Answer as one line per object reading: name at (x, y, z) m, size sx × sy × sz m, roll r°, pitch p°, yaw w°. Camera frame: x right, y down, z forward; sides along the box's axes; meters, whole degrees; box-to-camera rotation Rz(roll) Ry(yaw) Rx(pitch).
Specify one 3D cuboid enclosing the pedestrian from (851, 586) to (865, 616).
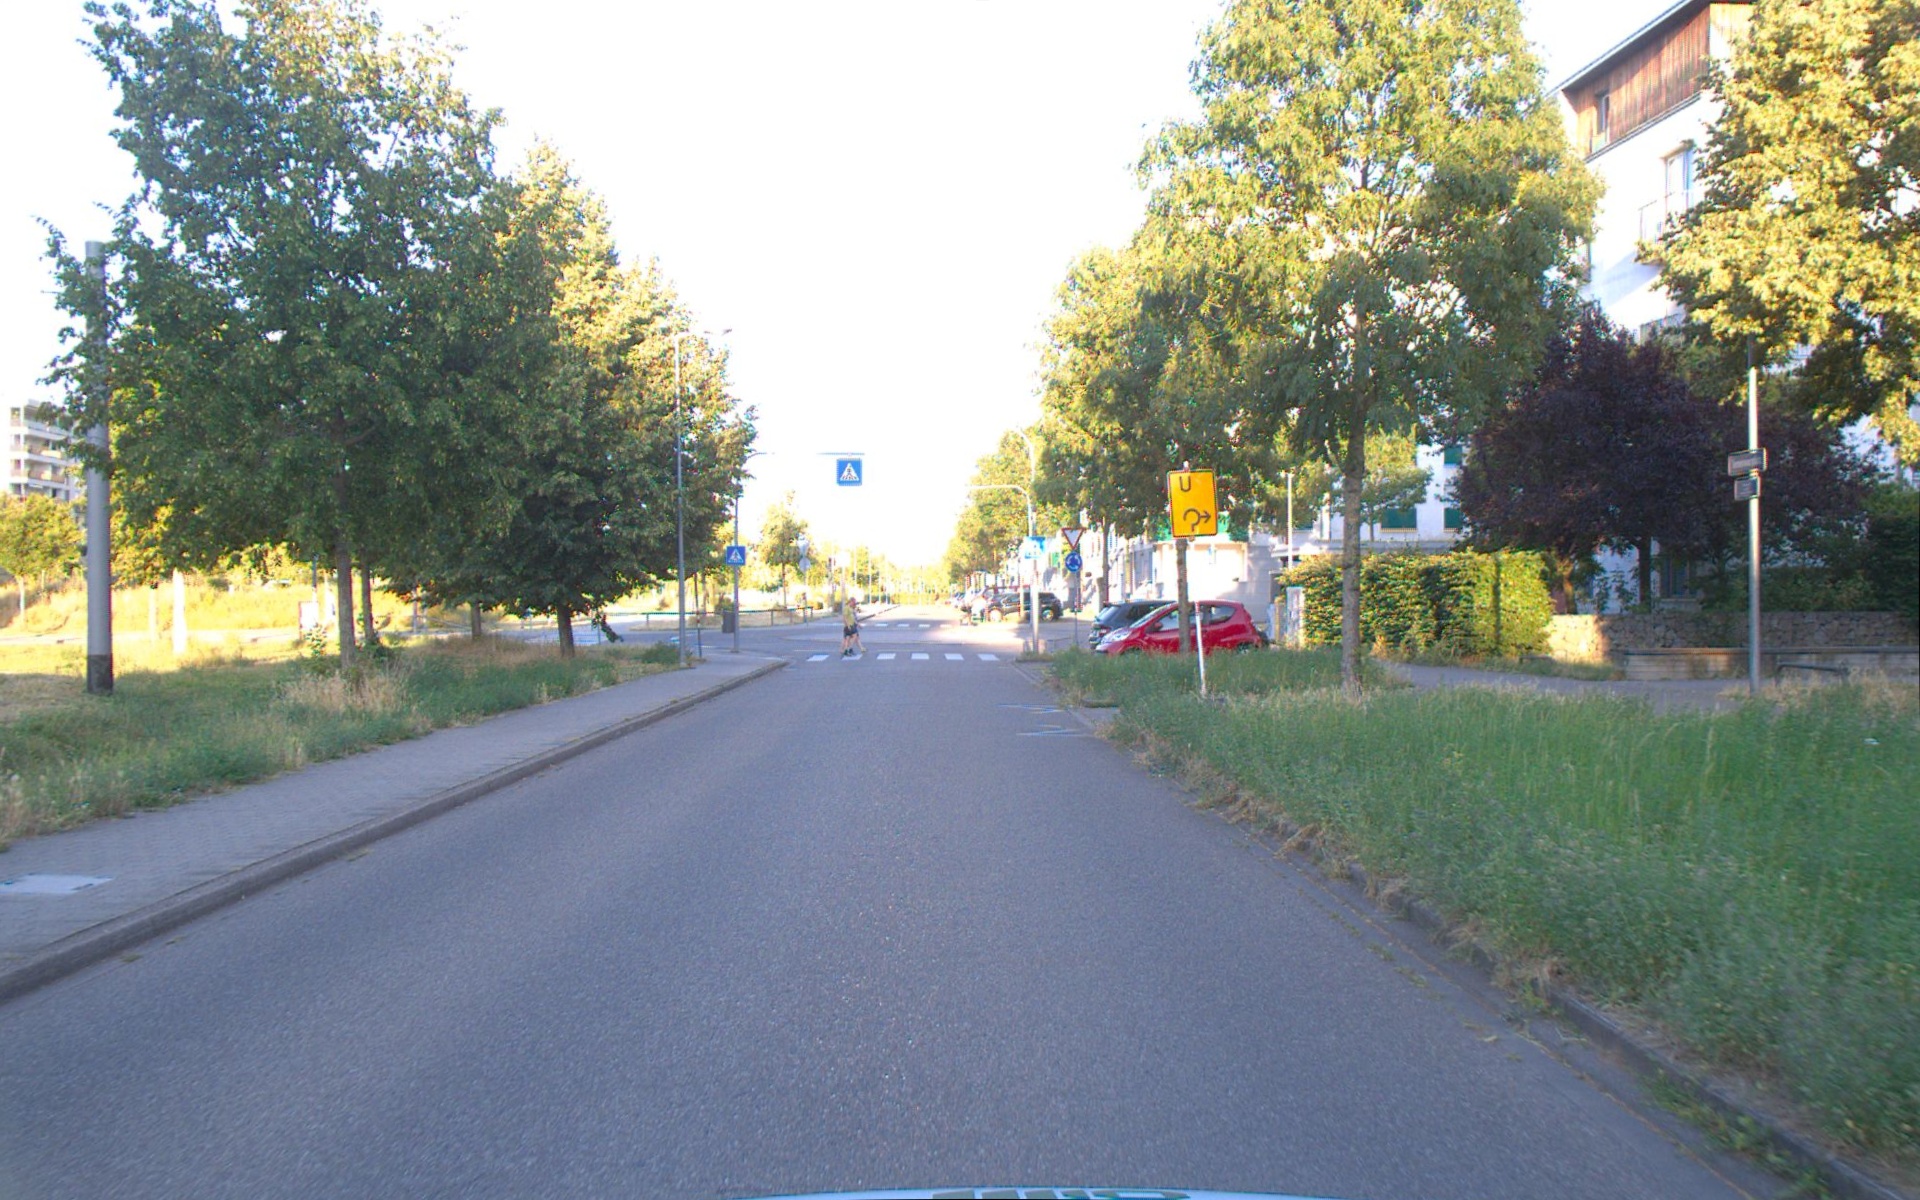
pedestrian at (-6.889, 0.060, 111.749) m, size 0.851 × 2.049 × 0.787 m, roll -1°, pitch 0°, yaw -12°

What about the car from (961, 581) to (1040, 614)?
car at (2.611, -0.153, 107.205) m, size 4.906 × 2.081 × 2.247 m, roll -1°, pitch 0°, yaw -6°

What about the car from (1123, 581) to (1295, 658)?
car at (5.873, 0.430, 39.188) m, size 3.730 × 1.534 × 1.677 m, roll -2°, pitch 4°, yaw -7°

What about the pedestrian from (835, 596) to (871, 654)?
pedestrian at (-3.203, 0.736, 49.512) m, size 0.966 × 1.723 × 0.698 m, roll -1°, pitch 0°, yaw -13°

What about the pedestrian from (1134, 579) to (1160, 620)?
pedestrian at (8.223, -0.022, 72.635) m, size 0.984 × 1.819 × 0.761 m, roll 1°, pitch 0°, yaw -8°

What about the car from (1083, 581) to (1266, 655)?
car at (4.668, 0.387, 36.339) m, size 3.727 × 1.535 × 1.678 m, roll -1°, pitch 0°, yaw -3°

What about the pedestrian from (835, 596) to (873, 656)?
pedestrian at (-3.138, 0.756, 48.800) m, size 1.001 × 1.723 × 0.757 m, roll -1°, pitch 0°, yaw -12°

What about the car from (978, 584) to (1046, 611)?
car at (3.240, -0.165, 104.169) m, size 4.178 × 1.624 × 1.999 m, roll -1°, pitch 0°, yaw -2°

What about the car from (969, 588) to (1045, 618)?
car at (2.602, 0.158, 91.914) m, size 4.176 × 1.624 × 2.000 m, roll -1°, pitch 0°, yaw 0°

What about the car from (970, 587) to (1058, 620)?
car at (2.734, 0.165, 84.021) m, size 4.393 × 1.624 × 2.000 m, roll -1°, pitch 0°, yaw 0°

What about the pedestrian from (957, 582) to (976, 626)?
pedestrian at (0.309, 0.181, 77.024) m, size 0.828 × 2.049 × 0.944 m, roll -1°, pitch 0°, yaw 4°

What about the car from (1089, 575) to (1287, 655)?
car at (4.592, 0.294, 33.653) m, size 3.727 × 1.535 × 1.678 m, roll -1°, pitch 0°, yaw -3°

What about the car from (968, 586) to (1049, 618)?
car at (2.602, 0.099, 89.186) m, size 4.266 × 1.624 × 2.000 m, roll -1°, pitch 0°, yaw 0°
